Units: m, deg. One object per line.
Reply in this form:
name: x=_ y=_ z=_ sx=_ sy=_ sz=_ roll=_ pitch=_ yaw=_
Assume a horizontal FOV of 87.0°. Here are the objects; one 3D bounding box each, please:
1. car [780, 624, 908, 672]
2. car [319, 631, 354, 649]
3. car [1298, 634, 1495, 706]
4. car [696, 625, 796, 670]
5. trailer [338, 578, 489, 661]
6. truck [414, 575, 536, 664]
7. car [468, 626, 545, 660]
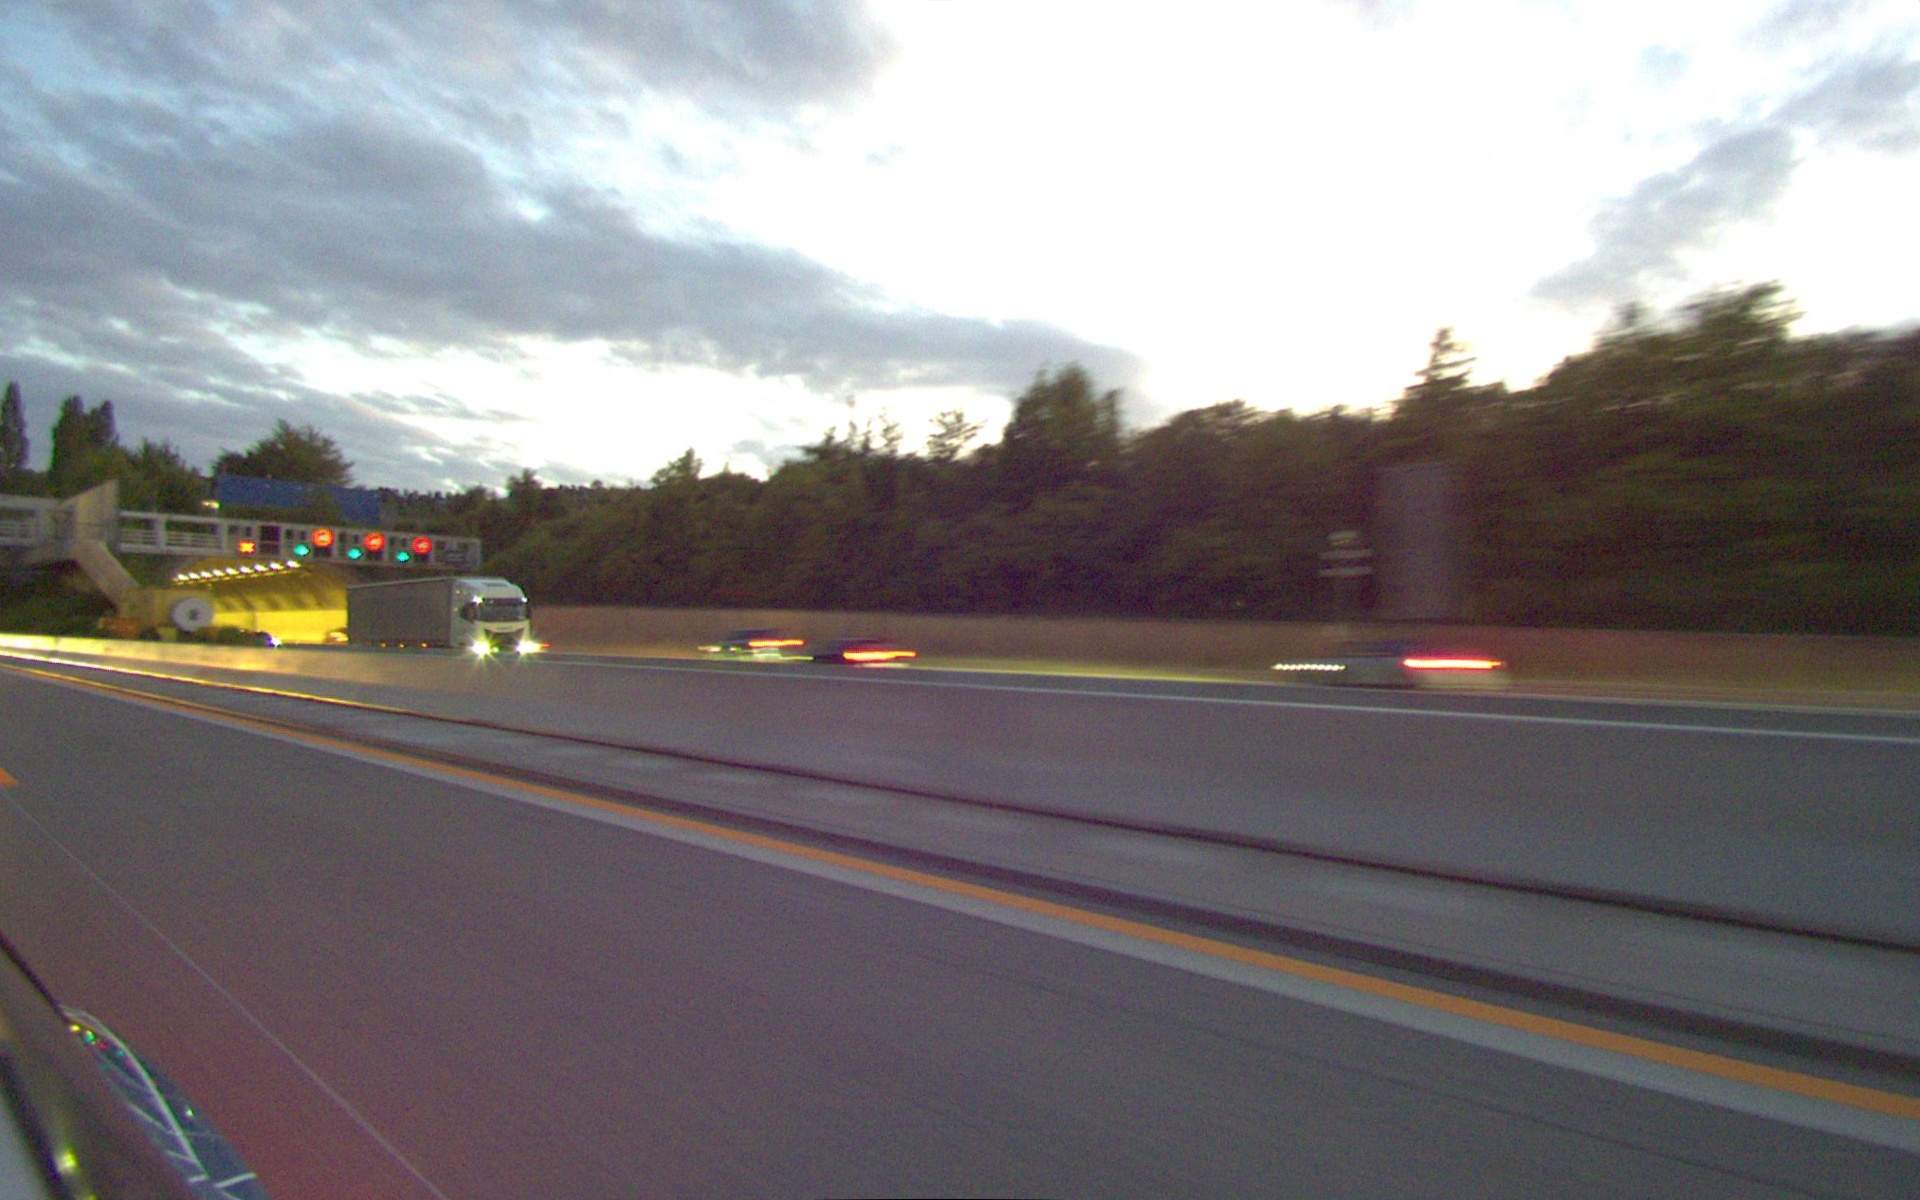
car: x=-4.018 y=1.578 z=34.510 sx=4.670 sy=1.465 sz=1.731 roll=-1 pitch=0 yaw=43
car: x=-54.905 y=3.493 z=89.061 sx=4.095 sy=1.481 sz=1.559 roll=-1 pitch=0 yaw=43
car: x=10.744 y=1.661 z=25.097 sx=4.178 sy=1.519 sz=1.646 roll=-1 pitch=0 yaw=43
car: x=-9.207 y=1.996 z=43.339 sx=4.668 sy=1.735 sz=1.732 roll=-1 pitch=0 yaw=41
trailer: x=-28.008 y=0.936 z=51.474 sx=11.830 sy=3.811 sz=2.770 roll=-1 pitch=0 yaw=41
truck: x=-22.339 y=0.860 z=46.481 sx=6.299 sy=3.803 sz=2.773 roll=-1 pitch=0 yaw=41
car: x=-23.642 y=2.202 z=52.648 sx=4.875 sy=1.600 sz=1.788 roll=-1 pitch=0 yaw=41
